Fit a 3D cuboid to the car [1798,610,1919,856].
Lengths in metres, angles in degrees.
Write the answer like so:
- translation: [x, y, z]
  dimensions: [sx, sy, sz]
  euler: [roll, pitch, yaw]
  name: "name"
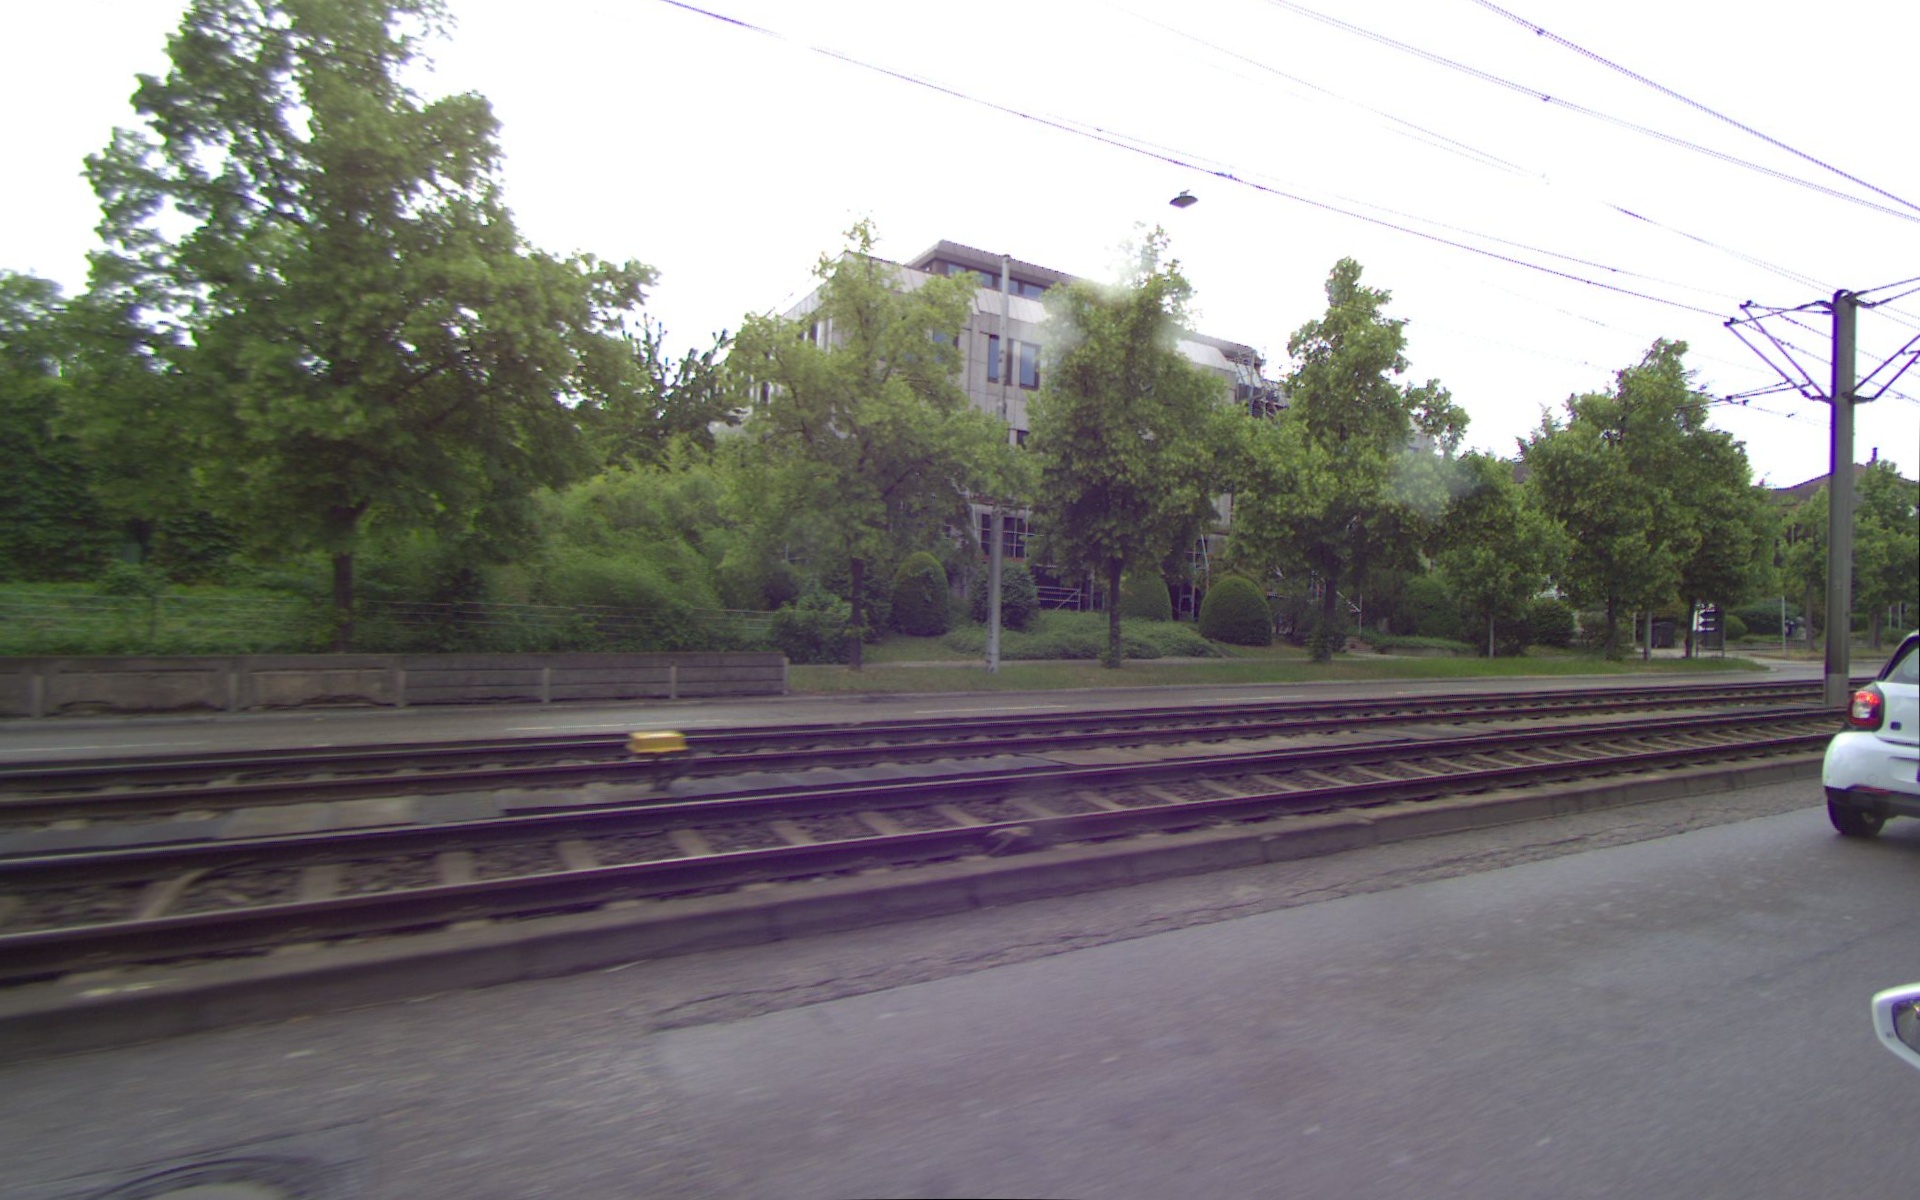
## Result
- translation: [7.749, 0.871, 7.067]
  dimensions: [3.676, 1.551, 1.668]
  euler: [1, -1, -29]
  name: "car"
